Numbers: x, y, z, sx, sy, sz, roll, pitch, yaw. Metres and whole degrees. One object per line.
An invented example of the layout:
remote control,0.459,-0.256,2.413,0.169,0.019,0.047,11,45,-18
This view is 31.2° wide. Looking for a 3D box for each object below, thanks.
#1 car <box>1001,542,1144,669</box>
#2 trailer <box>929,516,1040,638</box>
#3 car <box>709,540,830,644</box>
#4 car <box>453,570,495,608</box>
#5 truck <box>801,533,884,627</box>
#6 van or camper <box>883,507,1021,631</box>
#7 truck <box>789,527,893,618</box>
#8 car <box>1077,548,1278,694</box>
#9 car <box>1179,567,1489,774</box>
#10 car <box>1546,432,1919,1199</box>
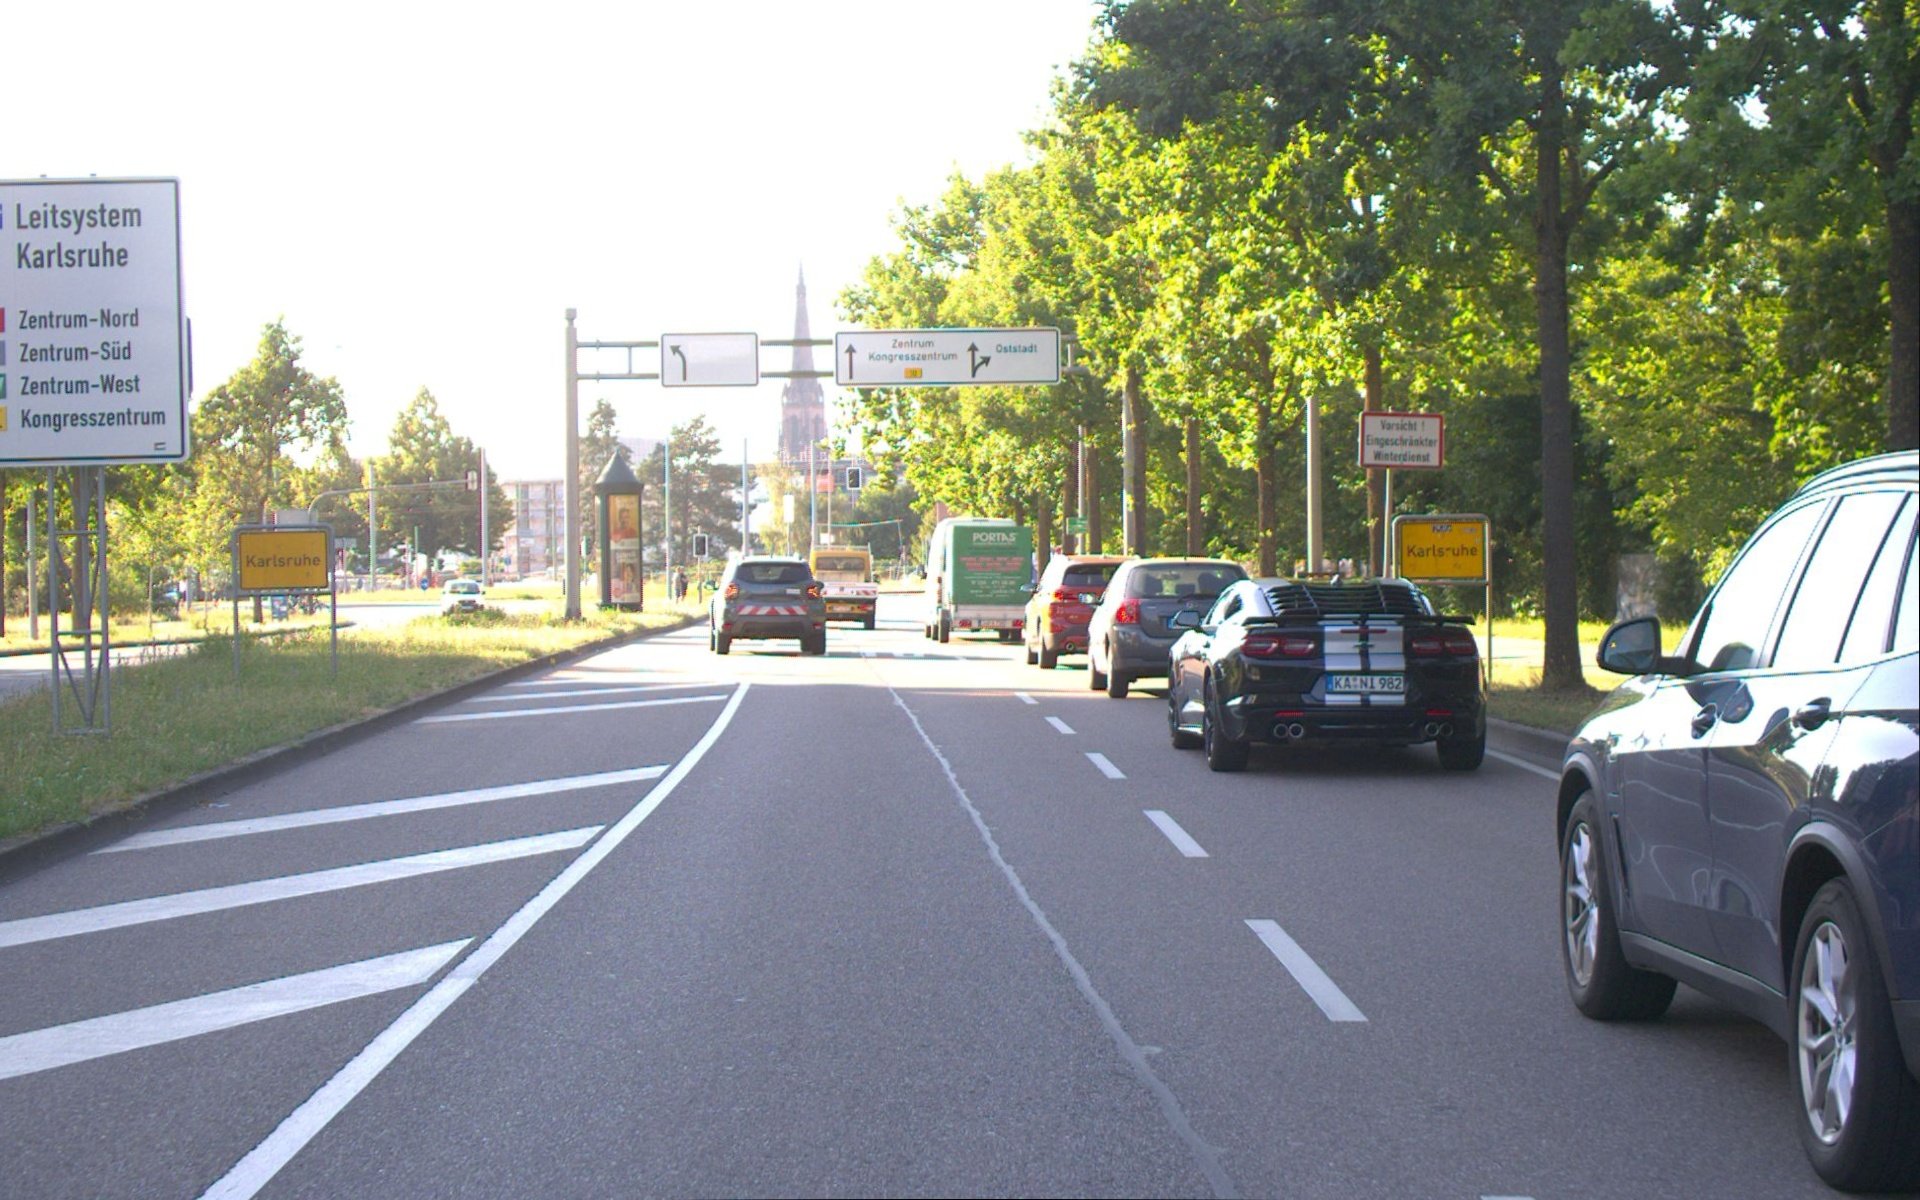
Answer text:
car,1.566,0.043,49.060,1.747,1.615,3.820,2,2,-2
trailer,0.473,-0.476,70.189,2.090,2.392,3.501,1,1,-2
car,-3.217,-0.139,57.472,1.905,1.654,4.001,-1,0,-5
car,-20.420,-0.457,144.606,1.562,1.569,3.413,-1,0,-5
truck,-3.457,-0.604,100.334,2.219,2.642,4.774,-1,1,-4
van or camper,-0.242,-0.706,76.292,2.284,2.620,6.584,0,1,-7
truck,-3.524,-0.816,100.710,2.580,2.549,6.253,-1,1,-6
car,2.295,0.191,37.174,1.747,1.468,3.820,-1,1,-2
car,2.601,0.442,24.885,1.854,1.333,4.625,0,1,1
car,2.931,0.519,9.278,1.955,1.721,4.699,0,0,1
